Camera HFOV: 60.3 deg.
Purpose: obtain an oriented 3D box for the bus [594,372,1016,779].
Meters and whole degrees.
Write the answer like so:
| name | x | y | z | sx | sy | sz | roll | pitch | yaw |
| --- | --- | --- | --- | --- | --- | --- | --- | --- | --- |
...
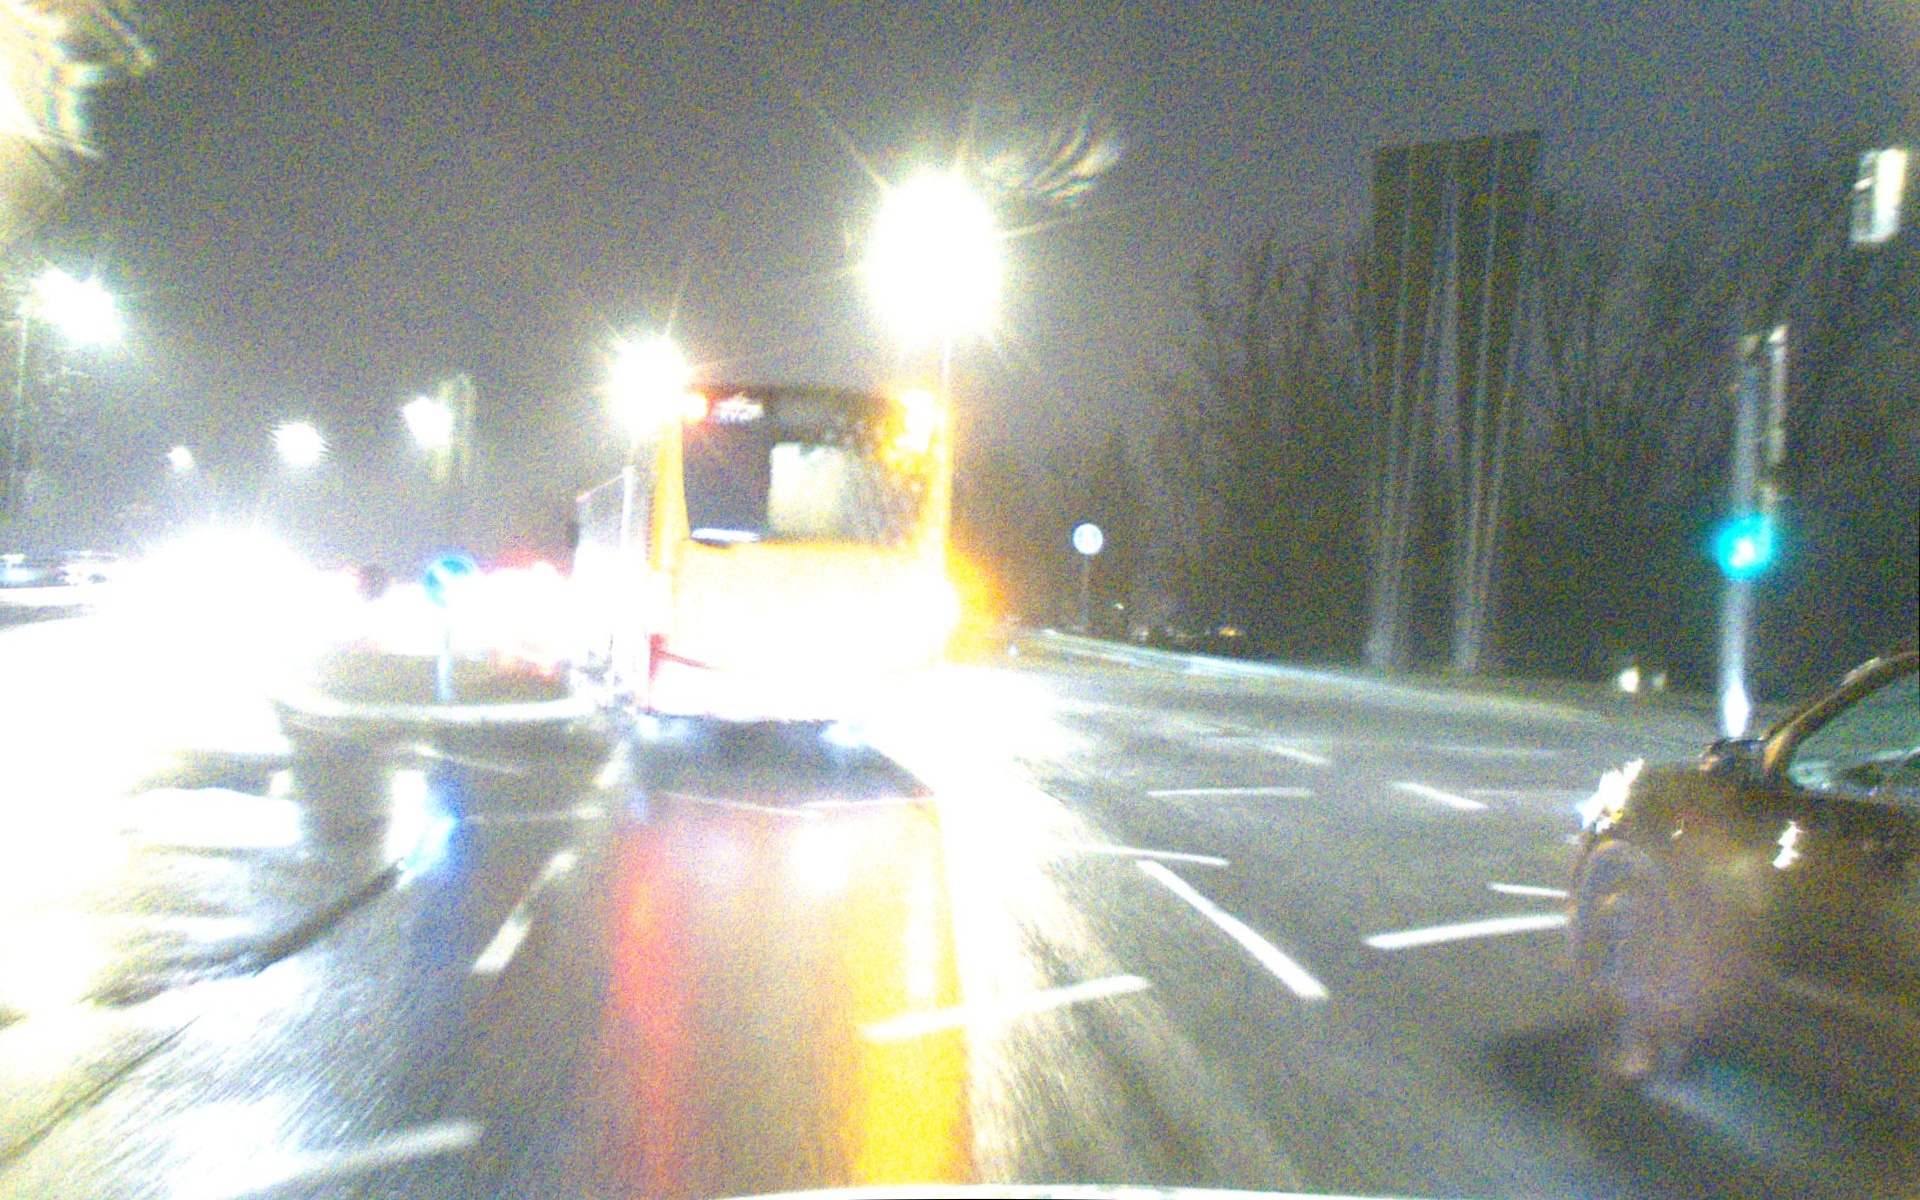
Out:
| name | x | y | z | sx | sy | sz | roll | pitch | yaw |
| --- | --- | --- | --- | --- | --- | --- | --- | --- | --- |
| bus | -2.217 | -0.351 | 17.793 | 3.228 | 3.103 | 9.515 | 2 | 2 | -13 |

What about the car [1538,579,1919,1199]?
| name | x | y | z | sx | sy | sz | roll | pitch | yaw |
| --- | --- | --- | --- | --- | --- | --- | --- | --- | --- |
| car | 3.153 | 0.767 | 4.209 | 1.644 | 1.548 | 3.955 | 3 | -1 | -5 |

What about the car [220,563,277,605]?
| name | x | y | z | sx | sy | sz | roll | pitch | yaw |
| --- | --- | --- | --- | --- | --- | --- | --- | --- | --- |
| car | -29.475 | -0.676 | 68.628 | 1.853 | 1.635 | 4.633 | 2 | 0 | -20 |

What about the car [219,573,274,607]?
| name | x | y | z | sx | sy | sz | roll | pitch | yaw |
| --- | --- | --- | --- | --- | --- | --- | --- | --- | --- |
| car | -41.396 | -0.592 | 95.937 | 2.072 | 1.672 | 3.684 | 7 | -2 | -35 |

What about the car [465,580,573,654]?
| name | x | y | z | sx | sy | sz | roll | pitch | yaw |
| --- | --- | --- | --- | --- | --- | --- | --- | --- | --- |
| car | -13.355 | 0.500 | 49.874 | 1.973 | 2.049 | 4.303 | 4 | -2 | -31 |

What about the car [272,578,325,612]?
| name | x | y | z | sx | sy | sz | roll | pitch | yaw |
| --- | --- | --- | --- | --- | --- | --- | --- | --- | --- |
| car | -34.362 | -0.276 | 85.903 | 1.799 | 1.646 | 3.955 | 4 | -2 | -32 |

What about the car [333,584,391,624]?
| name | x | y | z | sx | sy | sz | roll | pitch | yaw |
| --- | --- | --- | --- | --- | --- | --- | --- | --- | --- |
| car | -26.639 | 0.155 | 73.567 | 1.795 | 1.646 | 3.963 | 4 | -2 | -28 |

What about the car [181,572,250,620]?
| name | x | y | z | sx | sy | sz | roll | pitch | yaw |
| --- | --- | --- | --- | --- | --- | --- | --- | --- | --- |
| car | -25.177 | -0.118 | 56.034 | 1.798 | 1.474 | 4.630 | 4 | -1 | -21 |

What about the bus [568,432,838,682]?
| name | x | y | z | sx | sy | sz | roll | pitch | yaw |
| --- | --- | --- | --- | --- | --- | --- | --- | --- | --- |
| bus | -4.434 | -0.654 | 26.570 | 3.194 | 3.174 | 8.611 | 4 | 0 | -15 |
